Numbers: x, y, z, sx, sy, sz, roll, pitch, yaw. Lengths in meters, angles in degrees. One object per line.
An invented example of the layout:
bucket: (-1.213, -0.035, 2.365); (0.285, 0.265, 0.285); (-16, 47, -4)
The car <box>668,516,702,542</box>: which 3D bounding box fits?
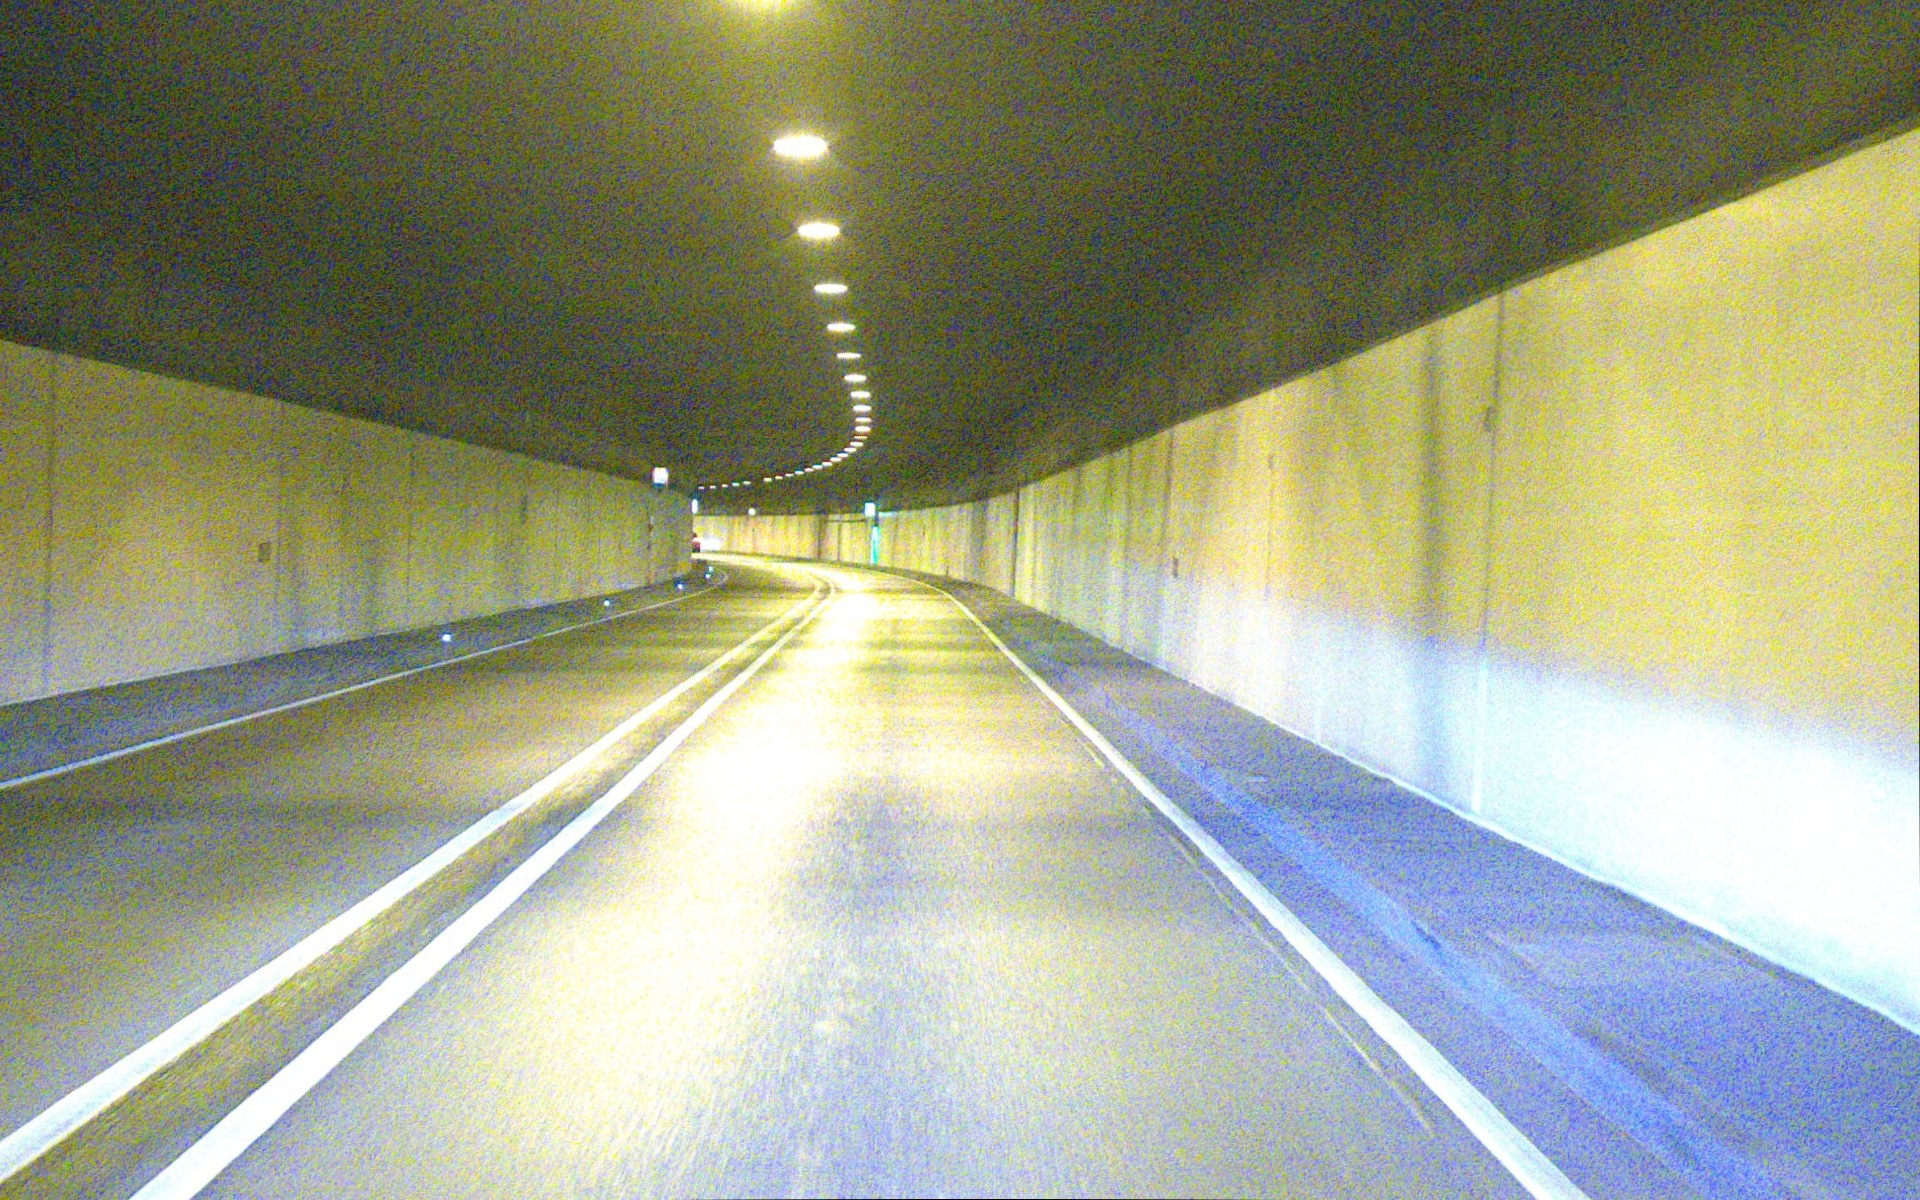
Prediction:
car: (-20.597, -5.304, 257.403); (1.966, 1.932, 4.614); (1, 0, -12)
